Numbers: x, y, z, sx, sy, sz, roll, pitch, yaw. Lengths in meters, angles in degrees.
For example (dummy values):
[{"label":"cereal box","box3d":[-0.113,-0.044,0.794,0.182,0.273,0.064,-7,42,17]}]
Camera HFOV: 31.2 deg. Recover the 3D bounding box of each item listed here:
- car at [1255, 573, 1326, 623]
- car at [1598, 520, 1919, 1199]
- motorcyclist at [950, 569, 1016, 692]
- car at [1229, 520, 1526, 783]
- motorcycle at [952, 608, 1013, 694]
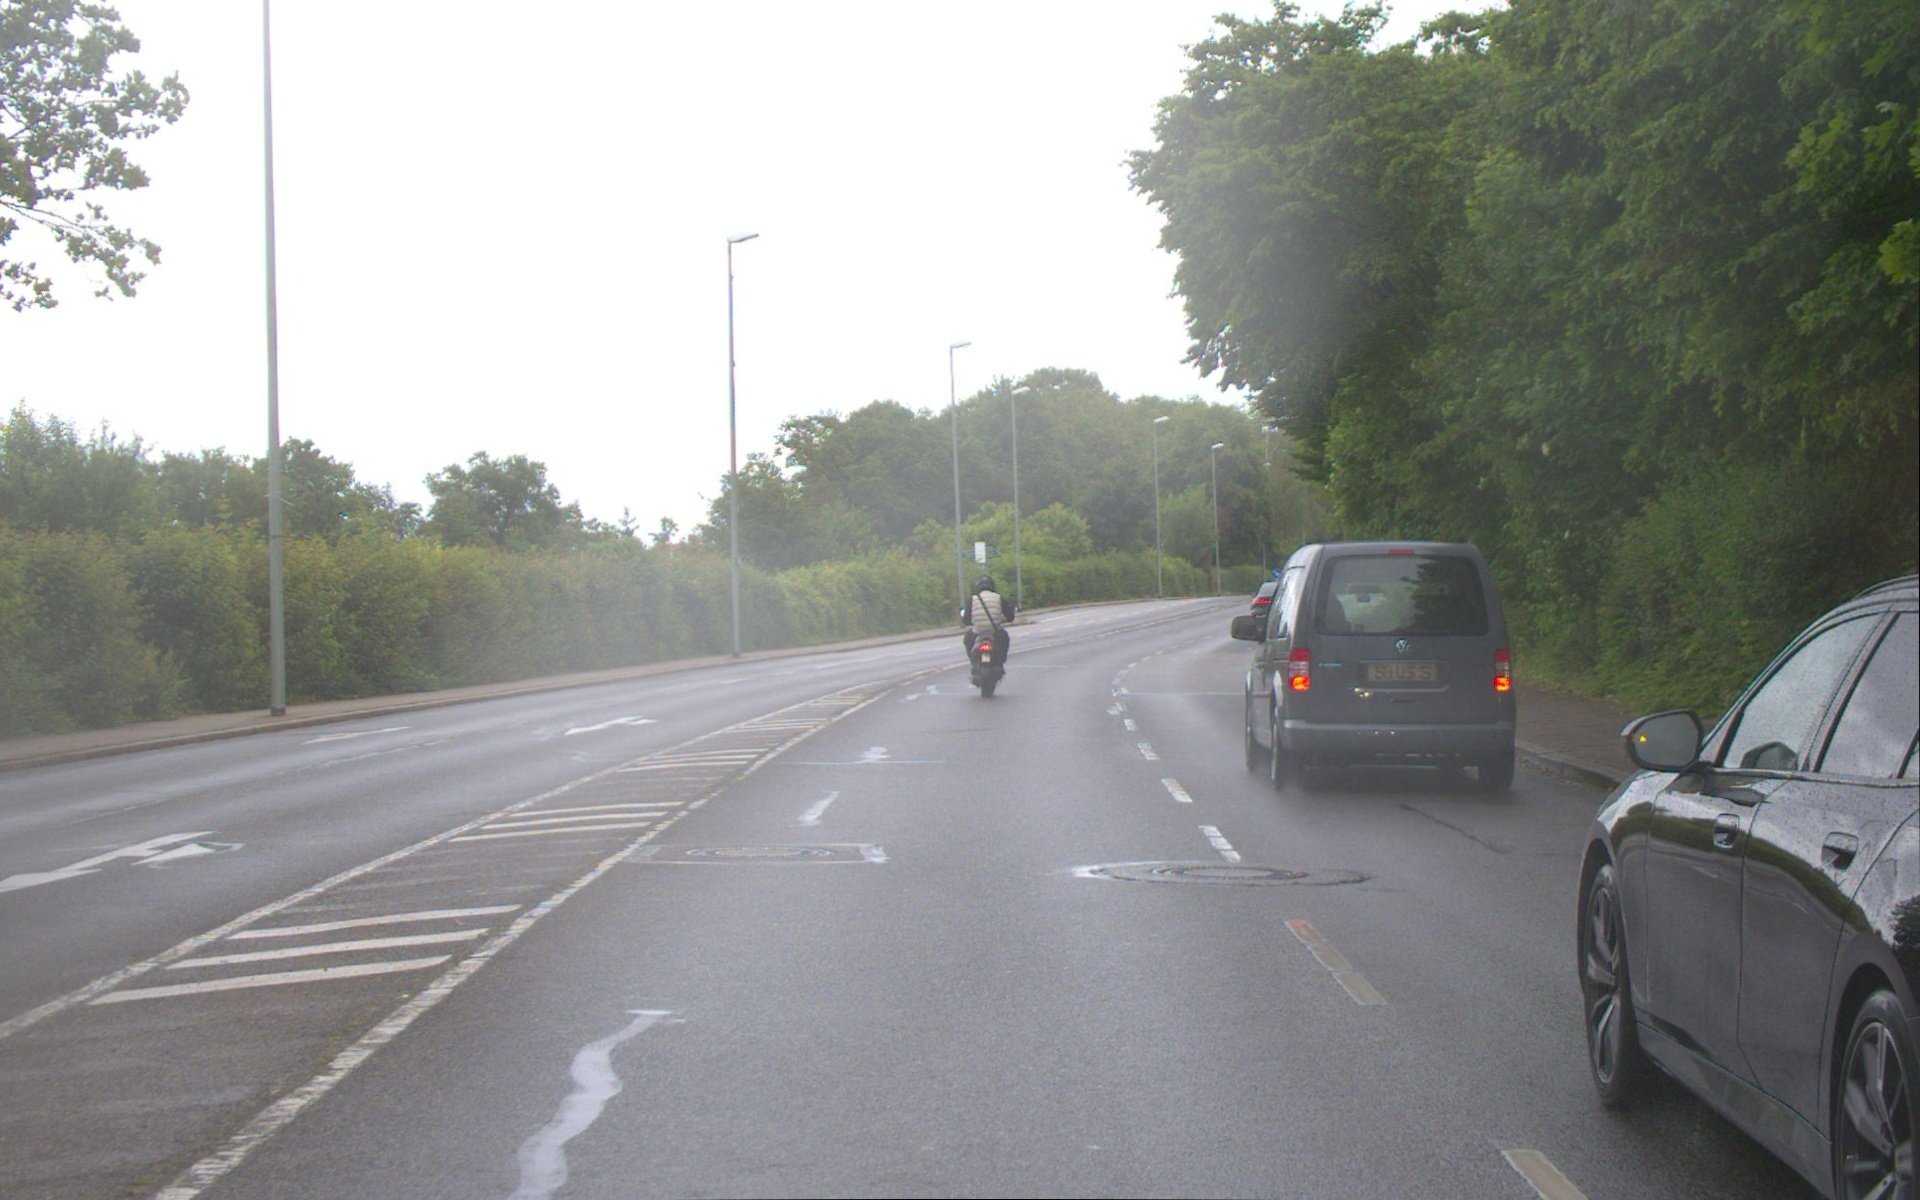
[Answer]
[{"label":"car","box3d":[10.352,-0.070,107.424,2.015,1.410,4.485,0,2,8]},{"label":"car","box3d":[2.595,0.635,7.301,1.764,1.531,3.673,1,0,0]},{"label":"motorcyclist","box3d":[0.317,0.414,46.898,0.845,1.641,0.468,-1,1,4]},{"label":"car","box3d":[3.085,0.318,26.115,1.767,1.803,3.906,0,2,0]},{"label":"motorcycle","box3d":[0.316,0.691,46.918,0.741,1.115,1.426,0,1,4]}]
